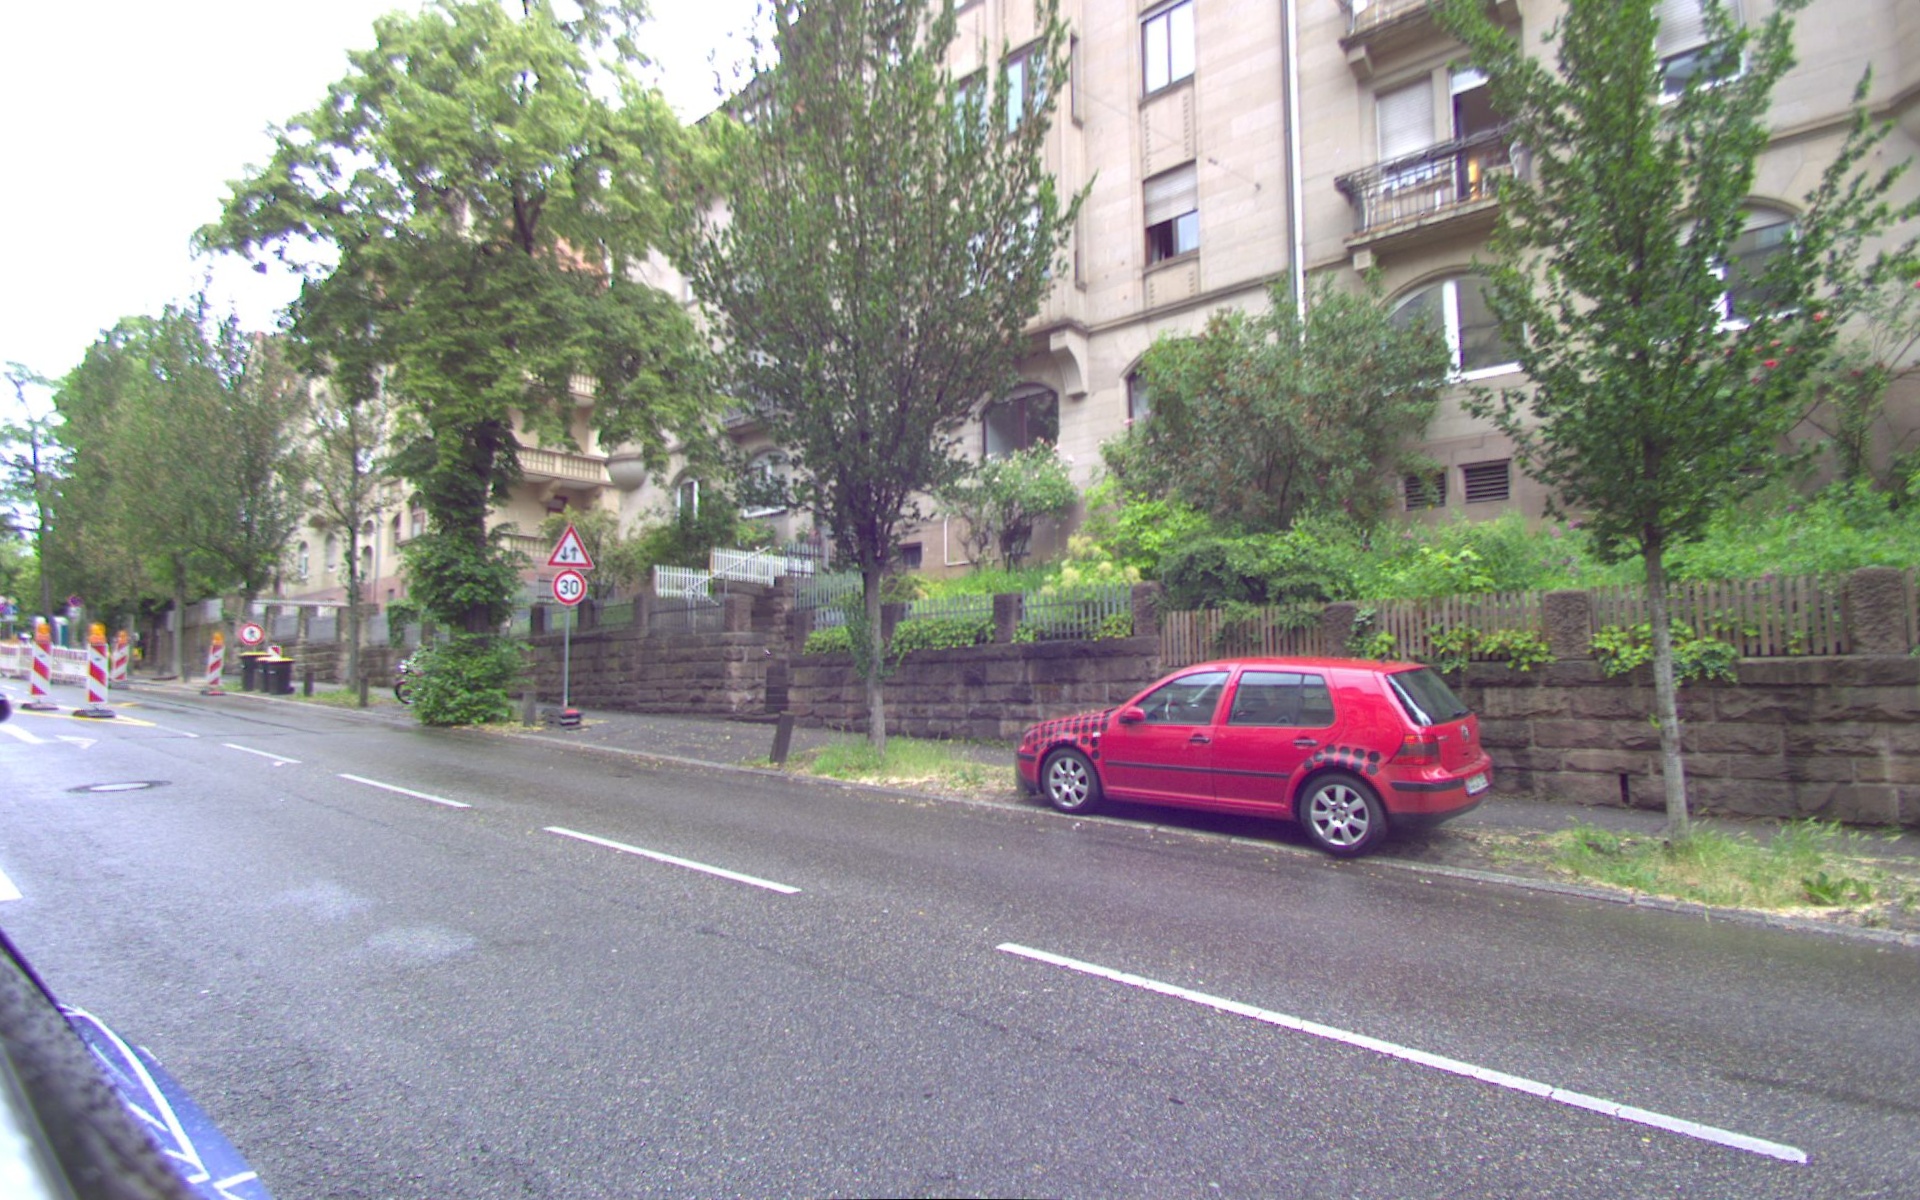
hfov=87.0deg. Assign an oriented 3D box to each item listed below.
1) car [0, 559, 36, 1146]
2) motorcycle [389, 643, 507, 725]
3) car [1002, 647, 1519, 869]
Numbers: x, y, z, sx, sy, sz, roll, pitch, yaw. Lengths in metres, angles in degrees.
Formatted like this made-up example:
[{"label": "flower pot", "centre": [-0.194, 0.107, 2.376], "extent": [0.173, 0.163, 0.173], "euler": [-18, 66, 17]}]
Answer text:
[{"label": "car", "centre": [-5.002, 0.758, 3.797], "extent": [4.520, 1.685, 1.799], "euler": [-2, -3, 42]}, {"label": "motorcycle", "centre": [-9.730, 1.542, 19.162], "extent": [3.058, 1.425, 0.792], "euler": [-2, -2, 38]}, {"label": "car", "centre": [2.434, 1.165, 8.870], "extent": [4.062, 1.462, 1.596], "euler": [-2, -3, 42]}]
